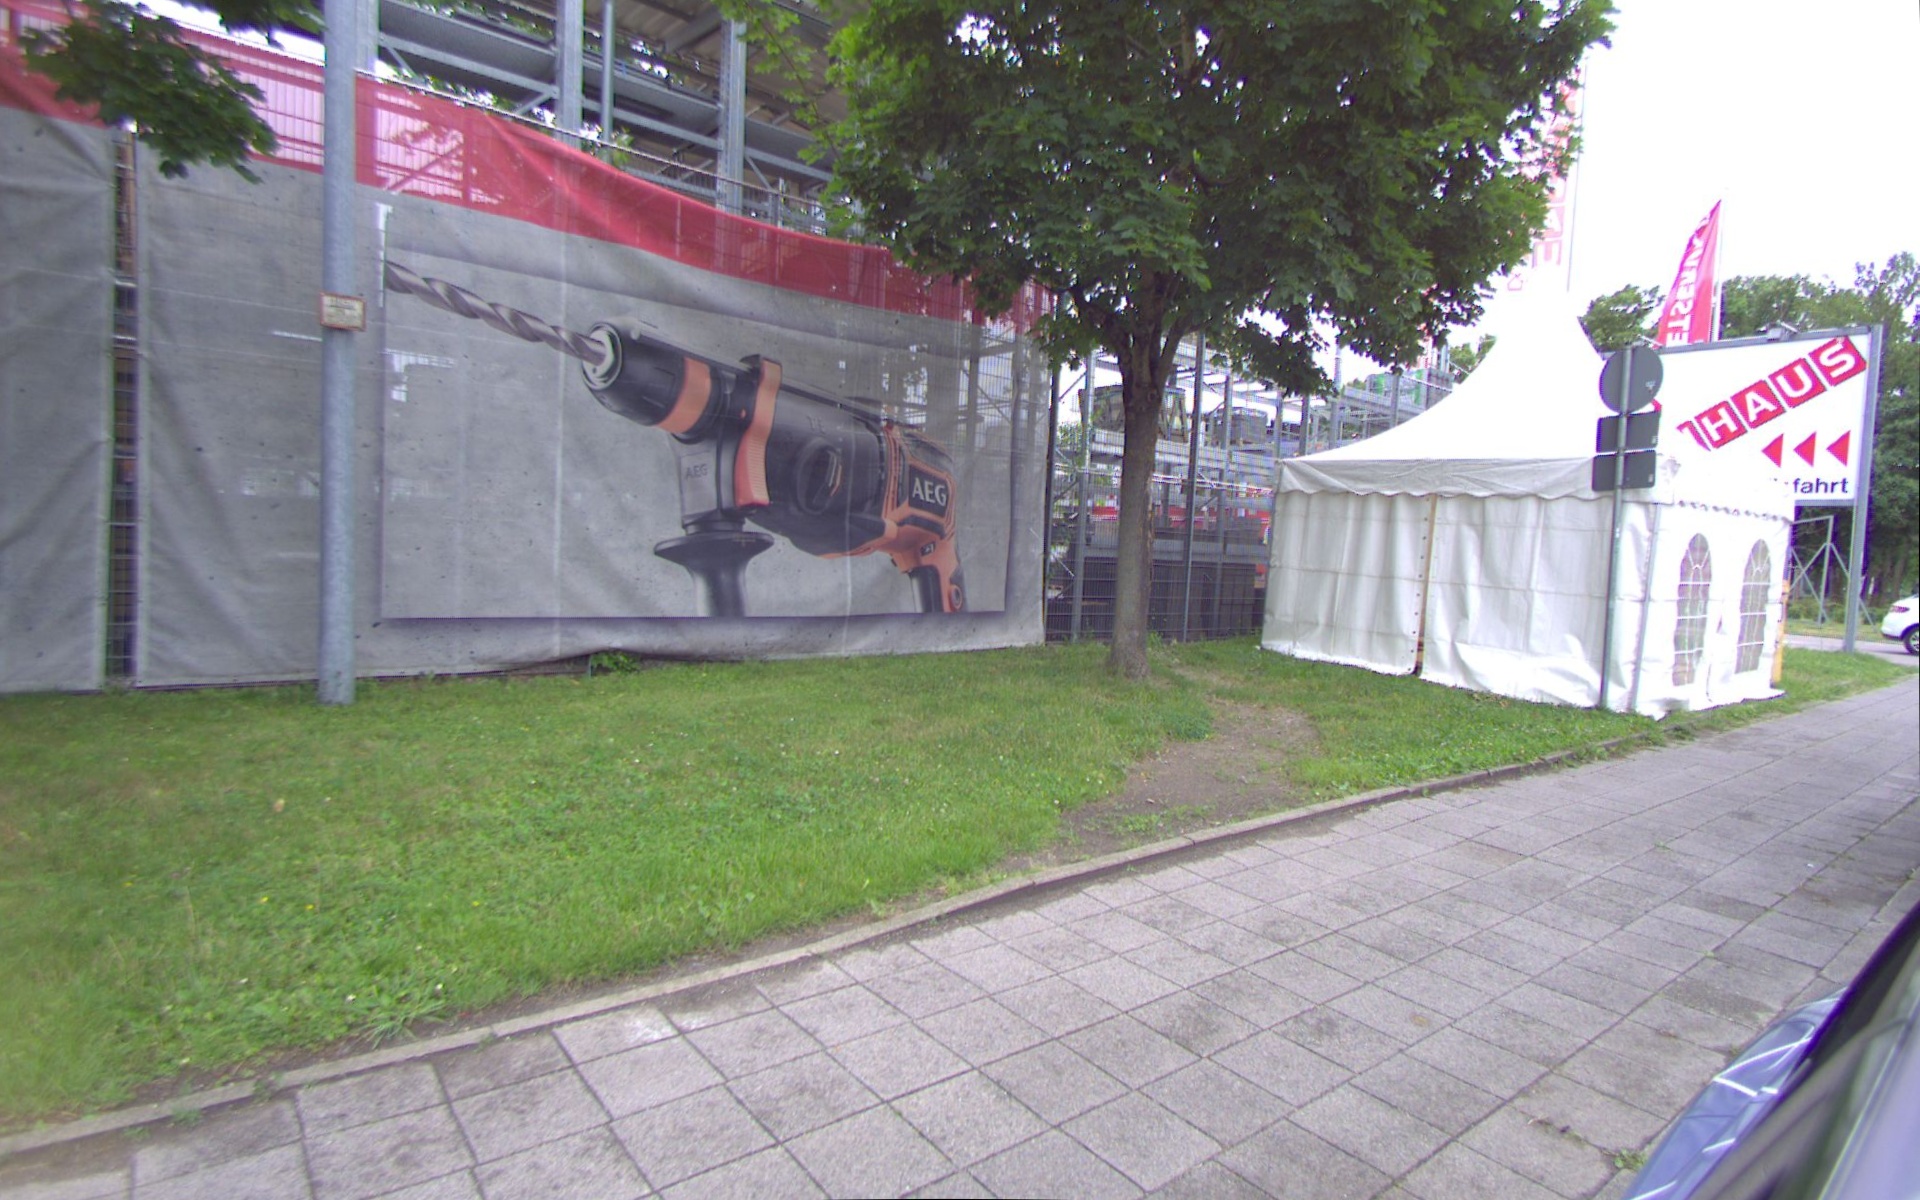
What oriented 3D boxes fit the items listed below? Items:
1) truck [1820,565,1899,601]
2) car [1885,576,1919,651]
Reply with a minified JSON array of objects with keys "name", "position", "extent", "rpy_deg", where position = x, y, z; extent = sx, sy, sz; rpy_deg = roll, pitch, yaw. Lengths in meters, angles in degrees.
[{"name":"truck","position":[68.104,-1.305,76.695],"extent":[3.925,2.425,2.001],"rpy_deg":[3,3,1]},{"name":"car","position":[20.972,0.364,19.438],"extent":[1.906,1.445,4.490],"rpy_deg":[-2,5,-41]}]
